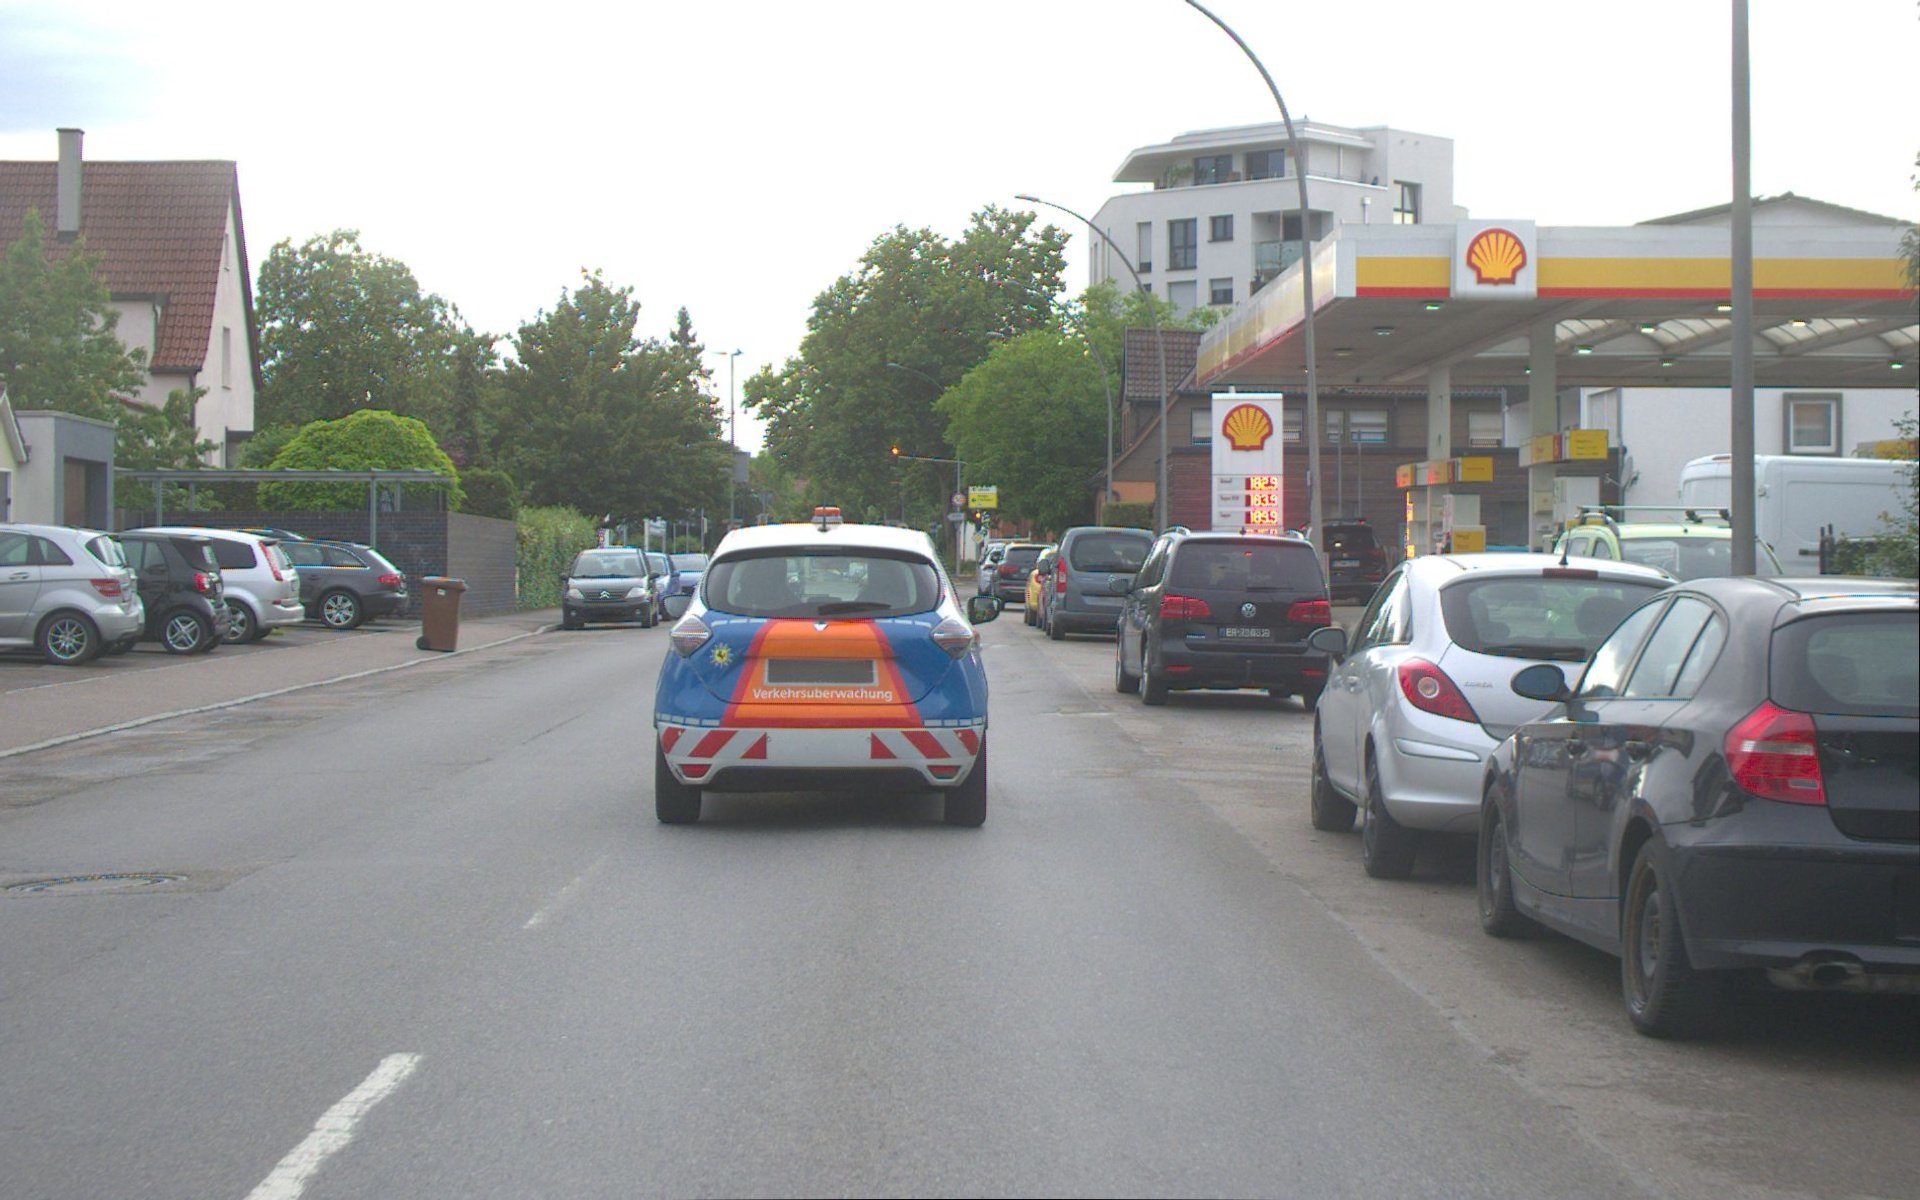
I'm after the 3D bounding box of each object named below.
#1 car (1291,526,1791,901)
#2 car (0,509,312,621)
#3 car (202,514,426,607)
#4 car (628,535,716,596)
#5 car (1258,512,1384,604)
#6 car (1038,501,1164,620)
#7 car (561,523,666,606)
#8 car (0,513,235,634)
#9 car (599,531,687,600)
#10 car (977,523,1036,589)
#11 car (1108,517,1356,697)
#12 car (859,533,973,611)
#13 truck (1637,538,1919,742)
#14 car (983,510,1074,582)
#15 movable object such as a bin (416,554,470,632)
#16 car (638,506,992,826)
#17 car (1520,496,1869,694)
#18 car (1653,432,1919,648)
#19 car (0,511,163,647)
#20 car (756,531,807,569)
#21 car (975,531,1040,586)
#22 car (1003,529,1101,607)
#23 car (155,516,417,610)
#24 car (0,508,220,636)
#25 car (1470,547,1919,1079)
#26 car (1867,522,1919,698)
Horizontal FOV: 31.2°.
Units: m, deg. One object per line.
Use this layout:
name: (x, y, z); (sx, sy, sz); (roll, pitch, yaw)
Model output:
car: (2.638, 0.438, 16.464); (1.737, 1.497, 3.881); (2, 2, 1)
car: (-11.177, -0.504, 47.880); (4.083, 1.508, 1.884); (0, 1, -6)
car: (-11.030, -0.686, 58.886); (3.584, 1.452, 1.757); (2, 1, -5)
car: (-6.936, -0.857, 83.138); (1.807, 1.398, 3.945); (-1, 1, 0)
car: (6.997, -0.834, 67.022); (1.819, 1.753, 4.001); (0, 1, -3)
car: (2.199, -0.637, 54.592); (1.656, 1.732, 4.445); (3, 1, -1)
car: (-6.503, -0.686, 64.801); (1.608, 1.501, 3.707); (-1, 1, 0)
car: (-11.444, -0.352, 43.977); (4.083, 1.498, 1.757); (0, 1, -6)
car: (-6.706, -0.742, 72.935); (1.545, 1.398, 3.597); (-1, 1, 0)
car: (1.549, -1.467, 113.510); (1.778, 2.022, 4.754); (2, 2, 2)
car: (2.509, 0.012, 32.671); (1.993, 1.590, 4.000); (0, 2, -1)
car: (-0.936, -0.645, 75.501); (1.994, 1.568, 3.999); (2, 2, 6)
truck: (6.759, 0.305, 27.376); (2.555, 1.524, 1.326); (2, 1, 7)
car: (1.689, -1.375, 86.347); (2.091, 1.656, 4.559); (2, 2, -1)
movable object such as a bin: (-7.514, -0.099, 50.003); (0.595, 1.053, 0.687); (5, 3, -1)
car: (-0.738, 0.271, 18.959); (1.746, 1.575, 4.000); (0, 2, -1)
car: (6.565, -0.090, 31.178); (1.993, 1.677, 4.001); (0, 1, -5)
car: (11.115, -0.732, 41.819); (4.787, 2.512, 2.248); (0, 1, -22)
car: (-11.419, -0.263, 39.742); (4.083, 1.527, 2.001); (0, 1, -6)
car: (-6.713, -1.895, 129.597); (1.626, 1.428, 3.683); (0, 1, 1)
car: (1.469, -1.305, 107.513); (1.865, 1.659, 4.320); (1, 1, -1)
car: (1.698, -0.612, 64.427); (1.656, 1.397, 3.802); (1, 1, -1)
car: (-10.924, -0.608, 55.969); (4.083, 1.409, 1.714); (1, 1, -8)
car: (-11.244, -0.361, 42.040); (4.083, 1.527, 1.814); (0, 1, -4)
car: (2.875, 0.581, 11.334); (1.737, 1.398, 3.719); (2, 2, -1)
car: (9.291, 0.076, 29.453); (1.747, 1.514, 3.733); (-3, 2, -5)
